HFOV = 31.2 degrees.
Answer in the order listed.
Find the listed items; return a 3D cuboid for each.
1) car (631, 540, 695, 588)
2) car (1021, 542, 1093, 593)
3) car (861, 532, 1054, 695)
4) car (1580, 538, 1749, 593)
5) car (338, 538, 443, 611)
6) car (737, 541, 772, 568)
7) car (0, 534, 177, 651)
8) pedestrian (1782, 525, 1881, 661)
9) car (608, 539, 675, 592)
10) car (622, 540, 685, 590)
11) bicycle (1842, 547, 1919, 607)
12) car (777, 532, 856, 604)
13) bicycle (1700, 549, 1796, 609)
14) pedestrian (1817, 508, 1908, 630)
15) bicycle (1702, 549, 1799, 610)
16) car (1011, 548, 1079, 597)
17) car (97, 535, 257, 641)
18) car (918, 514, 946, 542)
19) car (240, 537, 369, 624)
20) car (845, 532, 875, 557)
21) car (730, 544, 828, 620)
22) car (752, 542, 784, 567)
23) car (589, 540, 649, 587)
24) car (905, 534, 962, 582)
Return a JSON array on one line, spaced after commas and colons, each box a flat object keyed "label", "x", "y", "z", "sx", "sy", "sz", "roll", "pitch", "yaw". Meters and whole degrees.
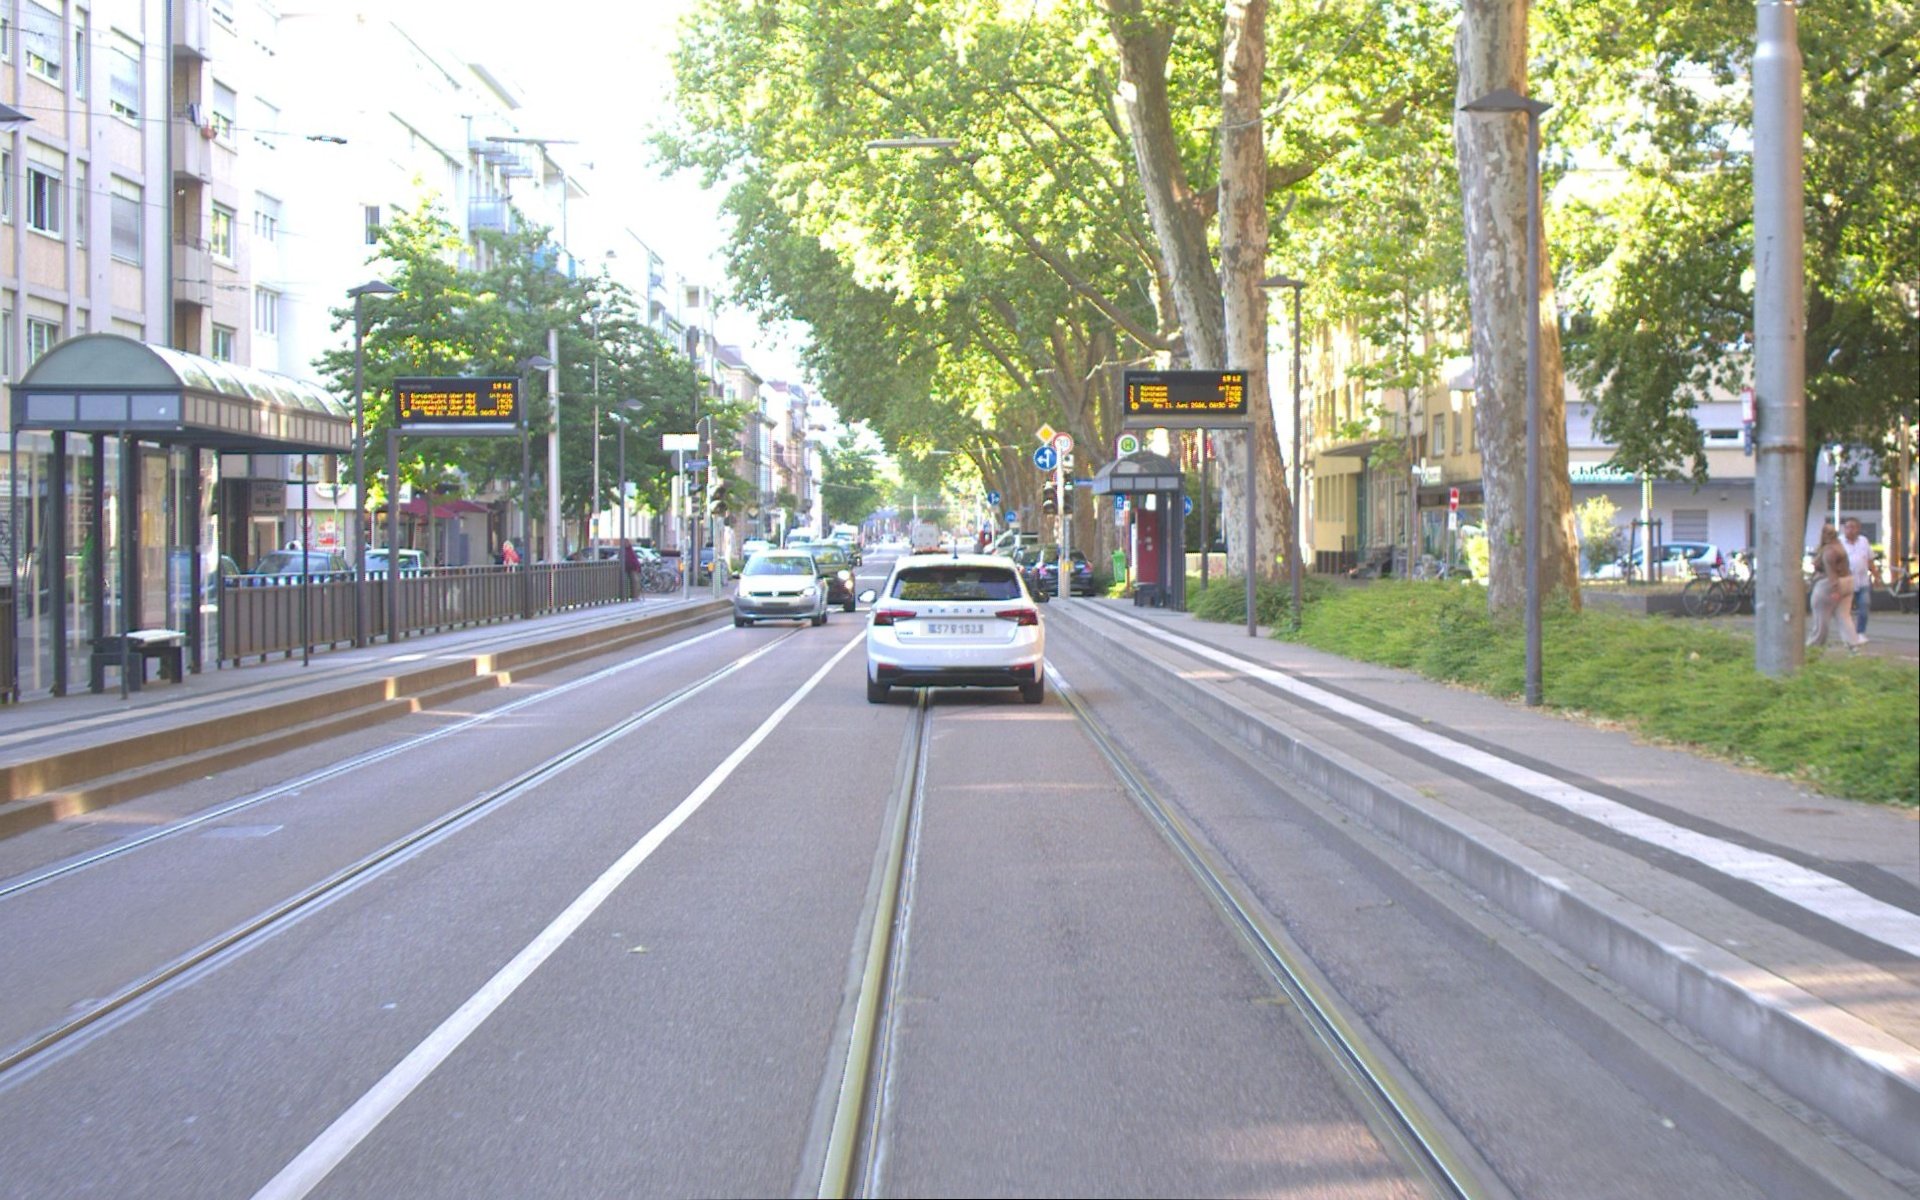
[{"label": "car", "x": -9.999, "y": -1.222, "z": 116.046, "sx": 1.794, "sy": 1.505, "sz": 4.000, "roll": 2, "pitch": 1, "yaw": 0}, {"label": "car", "x": 2.844, "y": -0.981, "z": 101.945, "sx": 1.993, "sy": 1.448, "sz": 4.000, "roll": 0, "pitch": 1, "yaw": 0}, {"label": "car", "x": -0.032, "y": 0.088, "z": 34.059, "sx": 1.788, "sy": 1.508, "sz": 4.000, "roll": 0, "pitch": 1, "yaw": 0}, {"label": "car", "x": 18.031, "y": -0.891, "z": 88.112, "sx": 3.987, "sy": 1.368, "sz": 1.867, "roll": 0, "pitch": 1, "yaw": 2}, {"label": "car", "x": -12.868, "y": -0.603, "z": 77.840, "sx": 1.678, "sy": 1.543, "sz": 4.000, "roll": 2, "pitch": 1, "yaw": 0}, {"label": "car", "x": -11.681, "y": -2.597, "z": 195.798, "sx": 1.788, "sy": 1.508, "sz": 4.000, "roll": 0, "pitch": 1, "yaw": 0}, {"label": "car", "x": -12.457, "y": -0.139, "z": 49.134, "sx": 1.593, "sy": 1.543, "sz": 4.000, "roll": 2, "pitch": 1, "yaw": 0}, {"label": "pedestrian", "x": 10.548, "y": -0.095, "z": 41.631, "sx": 0.972, "sy": 1.618, "sz": 0.887, "roll": 0, "pitch": 1, "yaw": 0}, {"label": "car", "x": -9.963, "y": -1.089, "z": 107.755, "sx": 1.678, "sy": 1.543, "sz": 4.000, "roll": 2, "pitch": 1, "yaw": 0}, {"label": "car", "x": -9.960, "y": -1.156, "z": 111.872, "sx": 1.678, "sy": 1.543, "sz": 4.000, "roll": 2, "pitch": 1, "yaw": 0}, {"label": "bicycle", "x": 15.958, "y": -0.396, "z": 58.984, "sx": 1.567, "sy": 1.034, "sz": 0.479, "roll": 0, "pitch": 1, "yaw": 21}, {"label": "car", "x": -3.332, "y": -0.769, "z": 80.515, "sx": 1.694, "sy": 1.638, "sz": 4.000, "roll": 0, "pitch": 1, "yaw": 0}, {"label": "bicycle", "x": 13.710, "y": -0.365, "z": 59.829, "sx": 1.567, "sy": 1.034, "sz": 0.504, "roll": 0, "pitch": 1, "yaw": 21}, {"label": "pedestrian", "x": 12.090, "y": -0.416, "z": 46.077, "sx": 0.972, "sy": 1.618, "sz": 0.887, "roll": 0, "pitch": 1, "yaw": 0}, {"label": "bicycle", "x": 13.547, "y": -0.350, "z": 58.915, "sx": 1.567, "sy": 1.034, "sz": 0.479, "roll": 0, "pitch": 1, "yaw": 21}, {"label": "car", "x": 2.640, "y": -0.866, "z": 107.035, "sx": 1.993, "sy": 1.448, "sz": 4.000, "roll": 0, "pitch": 1, "yaw": 0}, {"label": "car", "x": -12.301, "y": -0.219, "z": 54.208, "sx": 1.593, "sy": 1.543, "sz": 4.000, "roll": 2, "pitch": 1, "yaw": 0}, {"label": "car", "x": -1.934, "y": -4.990, "z": 237.319, "sx": 1.866, "sy": 1.886, "sz": 4.000, "roll": 0, "pitch": 1, "yaw": 0}, {"label": "car", "x": -12.487, "y": -0.405, "z": 65.682, "sx": 1.678, "sy": 1.543, "sz": 4.000, "roll": 2, "pitch": 1, "yaw": 0}, {"label": "car", "x": -6.236, "y": -3.477, "z": 214.147, "sx": 1.788, "sy": 1.508, "sz": 4.000, "roll": 0, "pitch": 1, "yaw": 0}, {"label": "car", "x": -3.480, "y": -0.369, "z": 66.713, "sx": 1.694, "sy": 1.414, "sz": 4.000, "roll": 0, "pitch": 1, "yaw": 0}, {"label": "car", "x": -11.829, "y": -2.825, "z": 212.077, "sx": 1.788, "sy": 1.508, "sz": 4.000, "roll": 0, "pitch": 1, "yaw": 0}, {"label": "car", "x": -11.850, "y": -1.285, "z": 119.633, "sx": 1.678, "sy": 1.543, "sz": 4.000, "roll": 2, "pitch": 1, "yaw": 0}, {"label": "car", "x": -0.831, "y": -1.352, "z": 109.418, "sx": 1.788, "sy": 1.508, "sz": 4.000, "roll": 0, "pitch": 1, "yaw": 0}]
